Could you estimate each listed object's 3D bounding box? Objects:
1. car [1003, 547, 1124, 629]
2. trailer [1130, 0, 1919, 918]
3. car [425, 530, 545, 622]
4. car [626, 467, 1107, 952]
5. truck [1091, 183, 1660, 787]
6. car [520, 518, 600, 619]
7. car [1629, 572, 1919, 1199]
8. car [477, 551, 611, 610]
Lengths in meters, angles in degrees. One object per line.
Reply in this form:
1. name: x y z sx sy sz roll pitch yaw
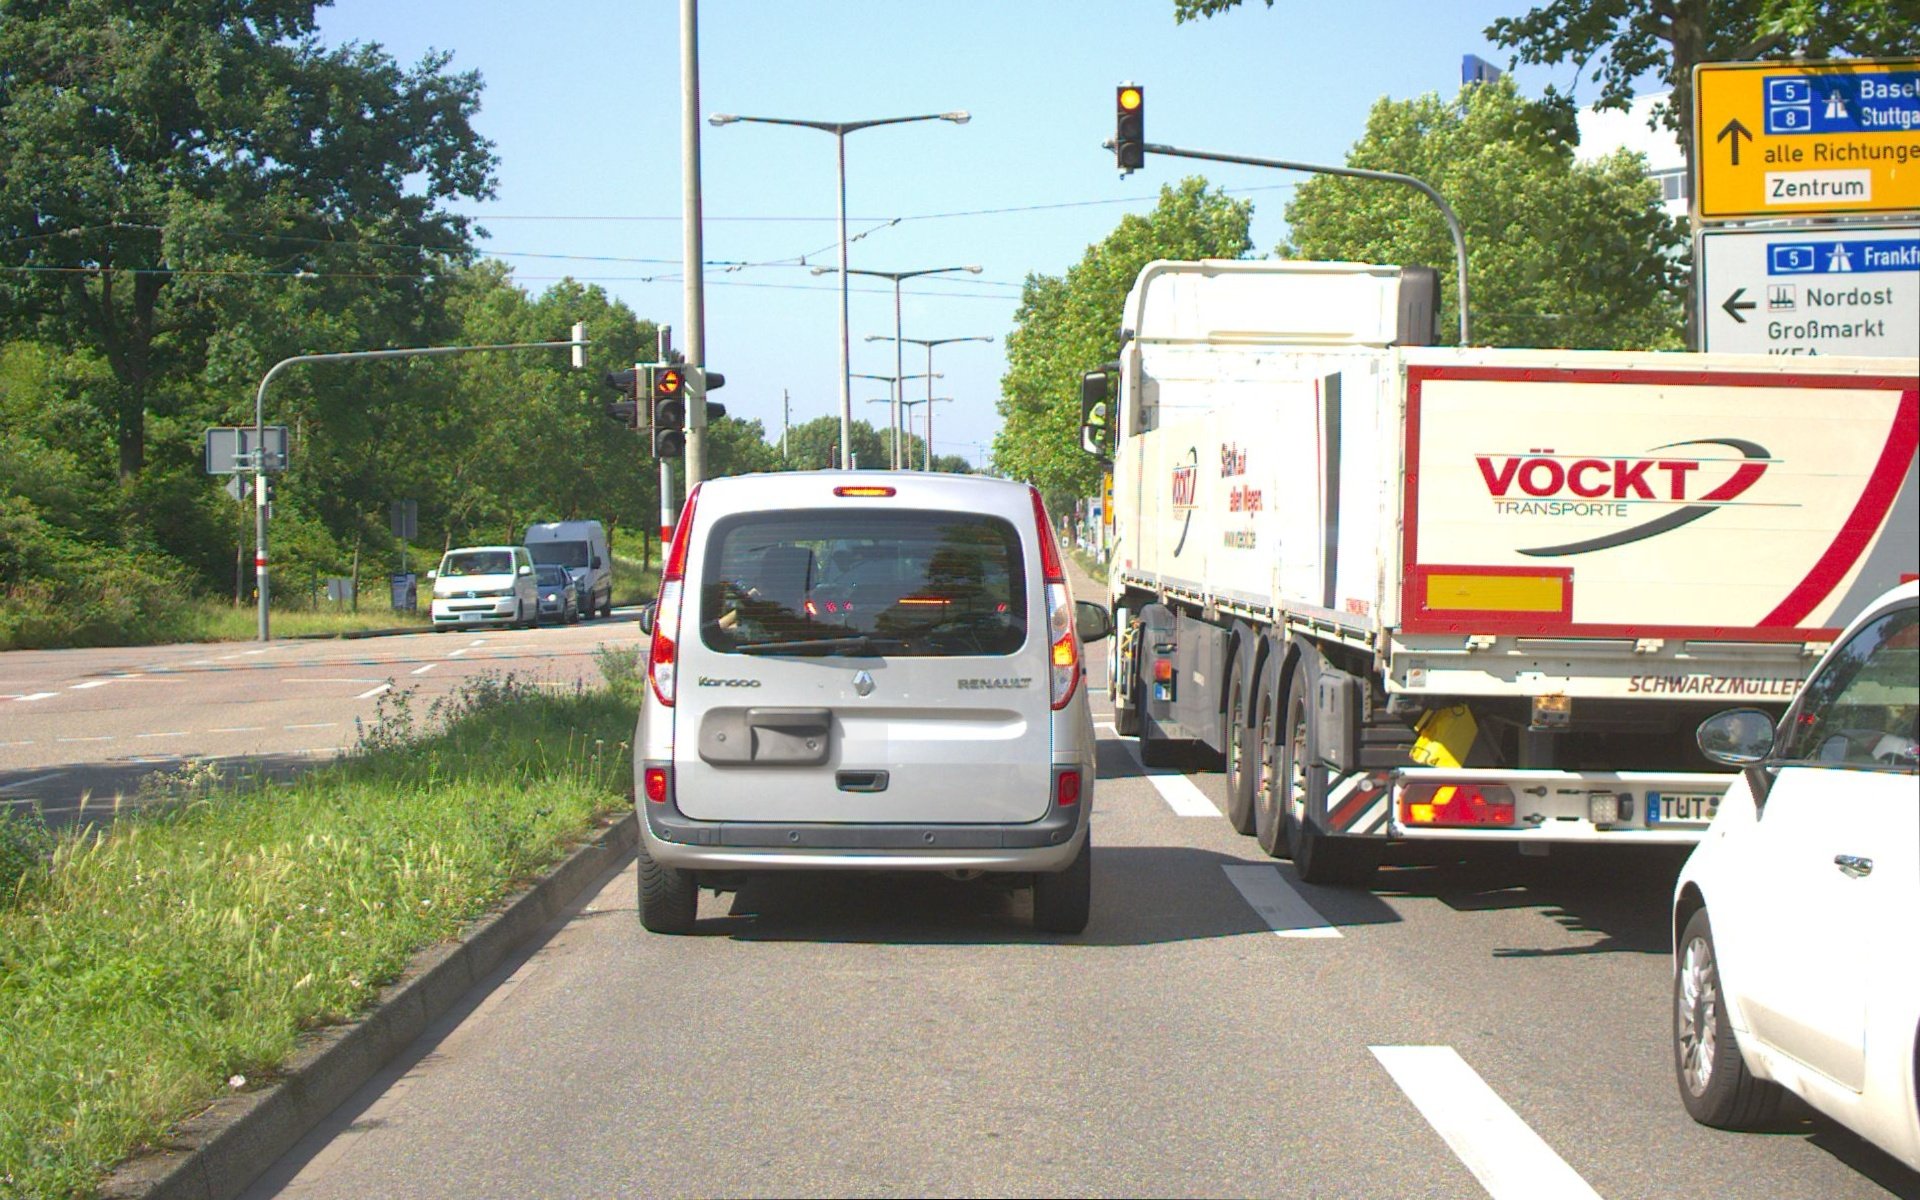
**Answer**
1. car: 2.104 -0.263 71.301 1.993 1.634 4.001 0 1 -6
2. trailer: 2.743 -0.820 18.152 3.016 3.728 12.240 0 1 0
3. car: -10.500 -0.535 76.352 1.993 1.884 4.988 -3 1 -1
4. car: -0.372 0.380 14.561 1.749 1.766 3.949 0 1 -1
5. truck: 2.729 -0.754 25.146 3.071 3.745 7.477 0 1 -1
6. car: -10.689 -0.861 91.992 2.058 2.605 5.871 0 1 -6
7. car: 2.678 0.661 7.838 1.661 1.431 3.520 0 1 1
8. car: -10.235 -0.491 84.298 1.911 1.404 4.228 0 1 -27
